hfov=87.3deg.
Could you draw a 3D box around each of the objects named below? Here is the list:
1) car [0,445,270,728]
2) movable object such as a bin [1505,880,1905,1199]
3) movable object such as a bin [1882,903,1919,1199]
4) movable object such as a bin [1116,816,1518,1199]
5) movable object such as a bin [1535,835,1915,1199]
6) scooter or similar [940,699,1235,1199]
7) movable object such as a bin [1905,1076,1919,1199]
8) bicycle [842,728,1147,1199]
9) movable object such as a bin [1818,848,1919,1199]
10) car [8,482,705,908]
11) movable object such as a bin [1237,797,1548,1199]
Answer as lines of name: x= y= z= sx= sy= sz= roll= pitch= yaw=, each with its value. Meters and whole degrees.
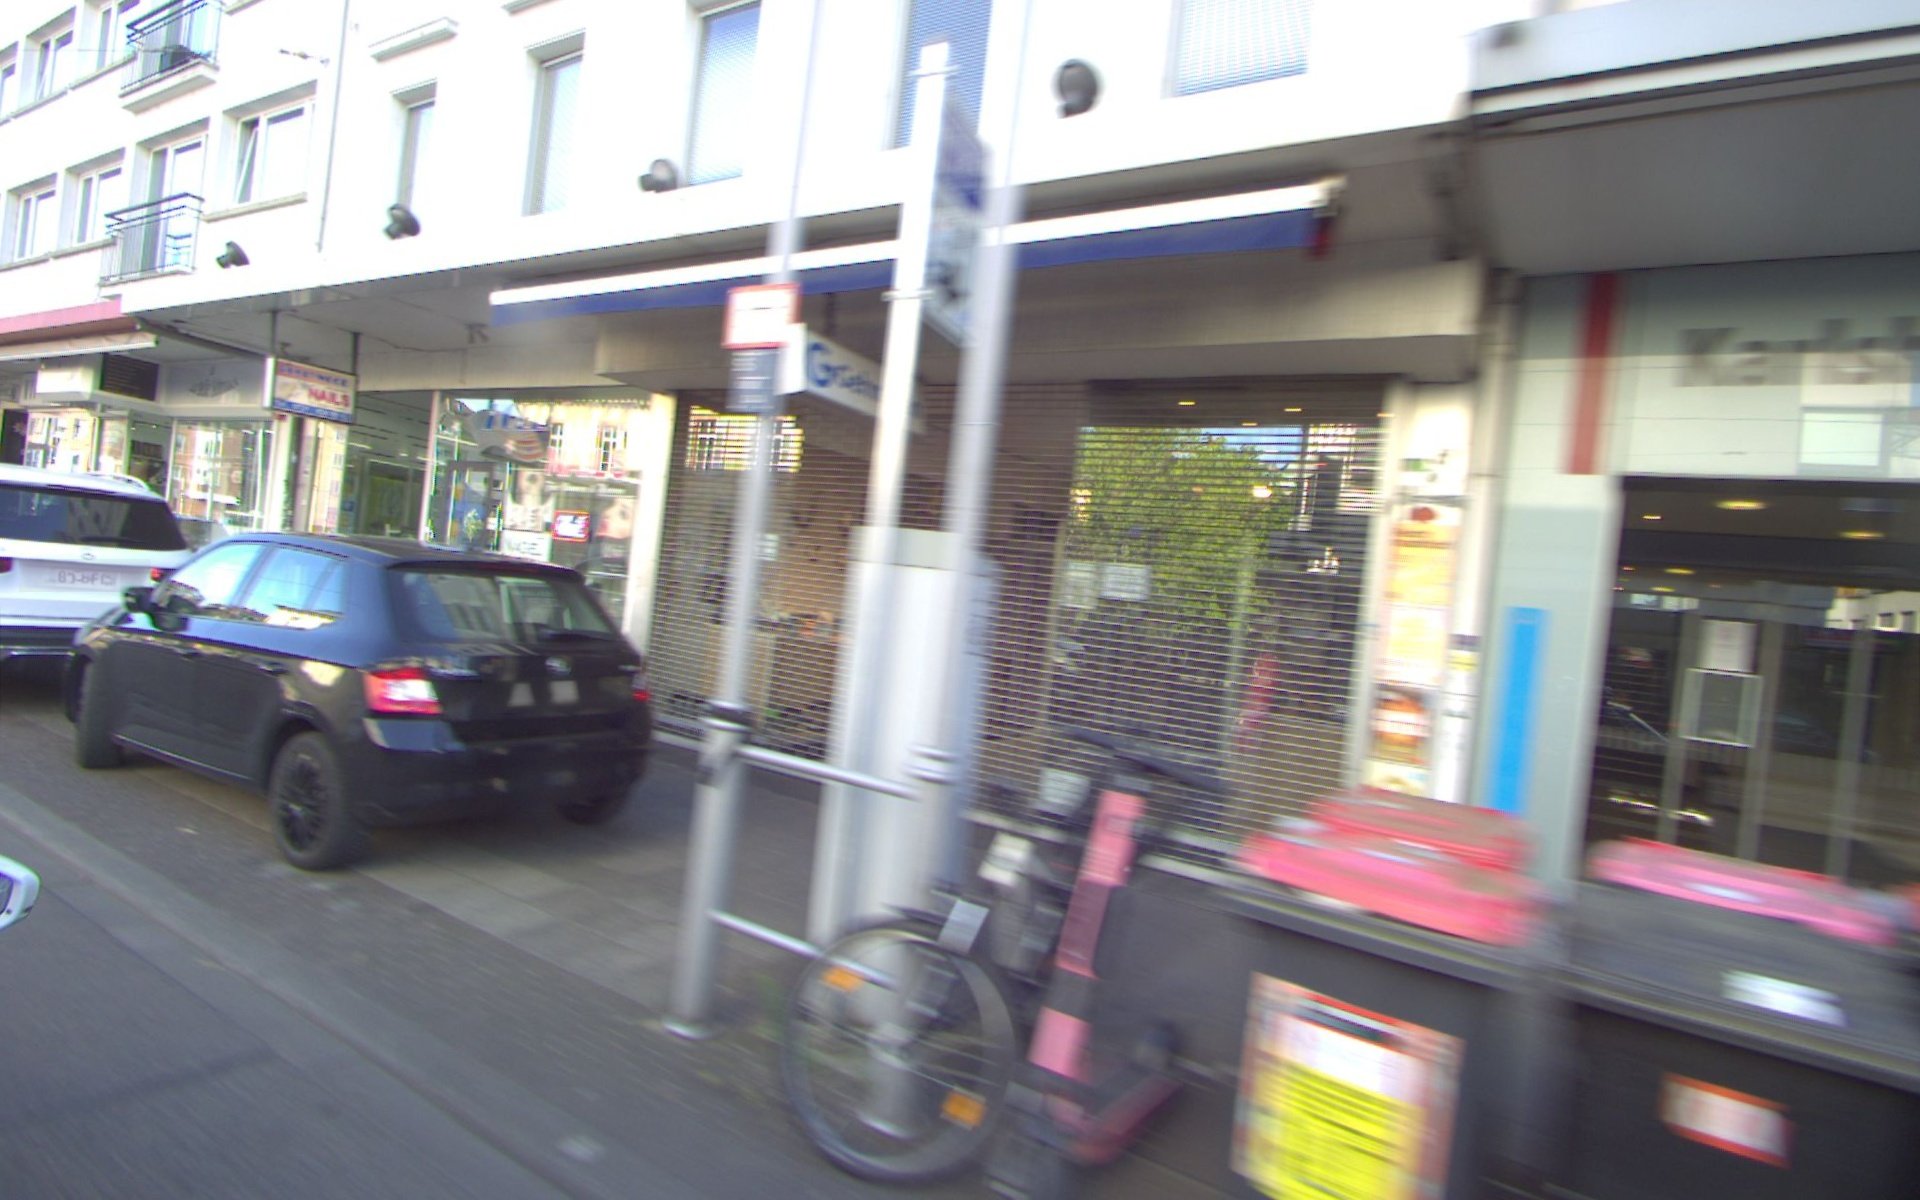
car: x=-7.800 y=-0.284 z=7.983 sx=5.107 sy=1.746 sz=1.850 roll=6 pitch=1 yaw=32
movable object such as a bin: x=1.394 y=1.179 z=1.992 sx=0.500 sy=1.027 sz=0.686 roll=7 pitch=1 yaw=34
movable object such as a bin: x=2.143 y=1.225 z=1.759 sx=0.675 sy=1.102 sz=0.690 roll=7 pitch=1 yaw=35
movable object such as a bin: x=0.789 y=1.089 z=2.246 sx=0.660 sy=1.027 sz=0.522 roll=7 pitch=1 yaw=35
movable object such as a bin: x=1.913 y=1.227 z=2.608 sx=0.626 sy=1.027 sz=0.658 roll=7 pitch=1 yaw=34
scooter or similar: x=0.387 y=0.928 z=2.712 sx=0.314 sy=1.248 sz=0.993 roll=7 pitch=2 yaw=30
movable object such as a bin: x=1.617 y=1.216 z=1.370 sx=0.450 sy=0.970 sz=0.487 roll=7 pitch=1 yaw=35
bicycle: x=0.162 y=0.988 z=3.013 sx=0.314 sy=1.093 sz=1.132 roll=7 pitch=1 yaw=30
movable object such as a bin: x=2.562 y=1.255 z=2.385 sx=0.655 sy=1.102 sz=0.690 roll=7 pitch=1 yaw=35
car: x=-3.522 y=0.298 z=5.653 sx=4.003 sy=1.547 sz=1.616 roll=6 pitch=0 yaw=32
movable object such as a bin: x=1.282 y=1.179 z=2.949 sx=0.626 sy=1.027 sz=0.658 roll=7 pitch=1 yaw=34
